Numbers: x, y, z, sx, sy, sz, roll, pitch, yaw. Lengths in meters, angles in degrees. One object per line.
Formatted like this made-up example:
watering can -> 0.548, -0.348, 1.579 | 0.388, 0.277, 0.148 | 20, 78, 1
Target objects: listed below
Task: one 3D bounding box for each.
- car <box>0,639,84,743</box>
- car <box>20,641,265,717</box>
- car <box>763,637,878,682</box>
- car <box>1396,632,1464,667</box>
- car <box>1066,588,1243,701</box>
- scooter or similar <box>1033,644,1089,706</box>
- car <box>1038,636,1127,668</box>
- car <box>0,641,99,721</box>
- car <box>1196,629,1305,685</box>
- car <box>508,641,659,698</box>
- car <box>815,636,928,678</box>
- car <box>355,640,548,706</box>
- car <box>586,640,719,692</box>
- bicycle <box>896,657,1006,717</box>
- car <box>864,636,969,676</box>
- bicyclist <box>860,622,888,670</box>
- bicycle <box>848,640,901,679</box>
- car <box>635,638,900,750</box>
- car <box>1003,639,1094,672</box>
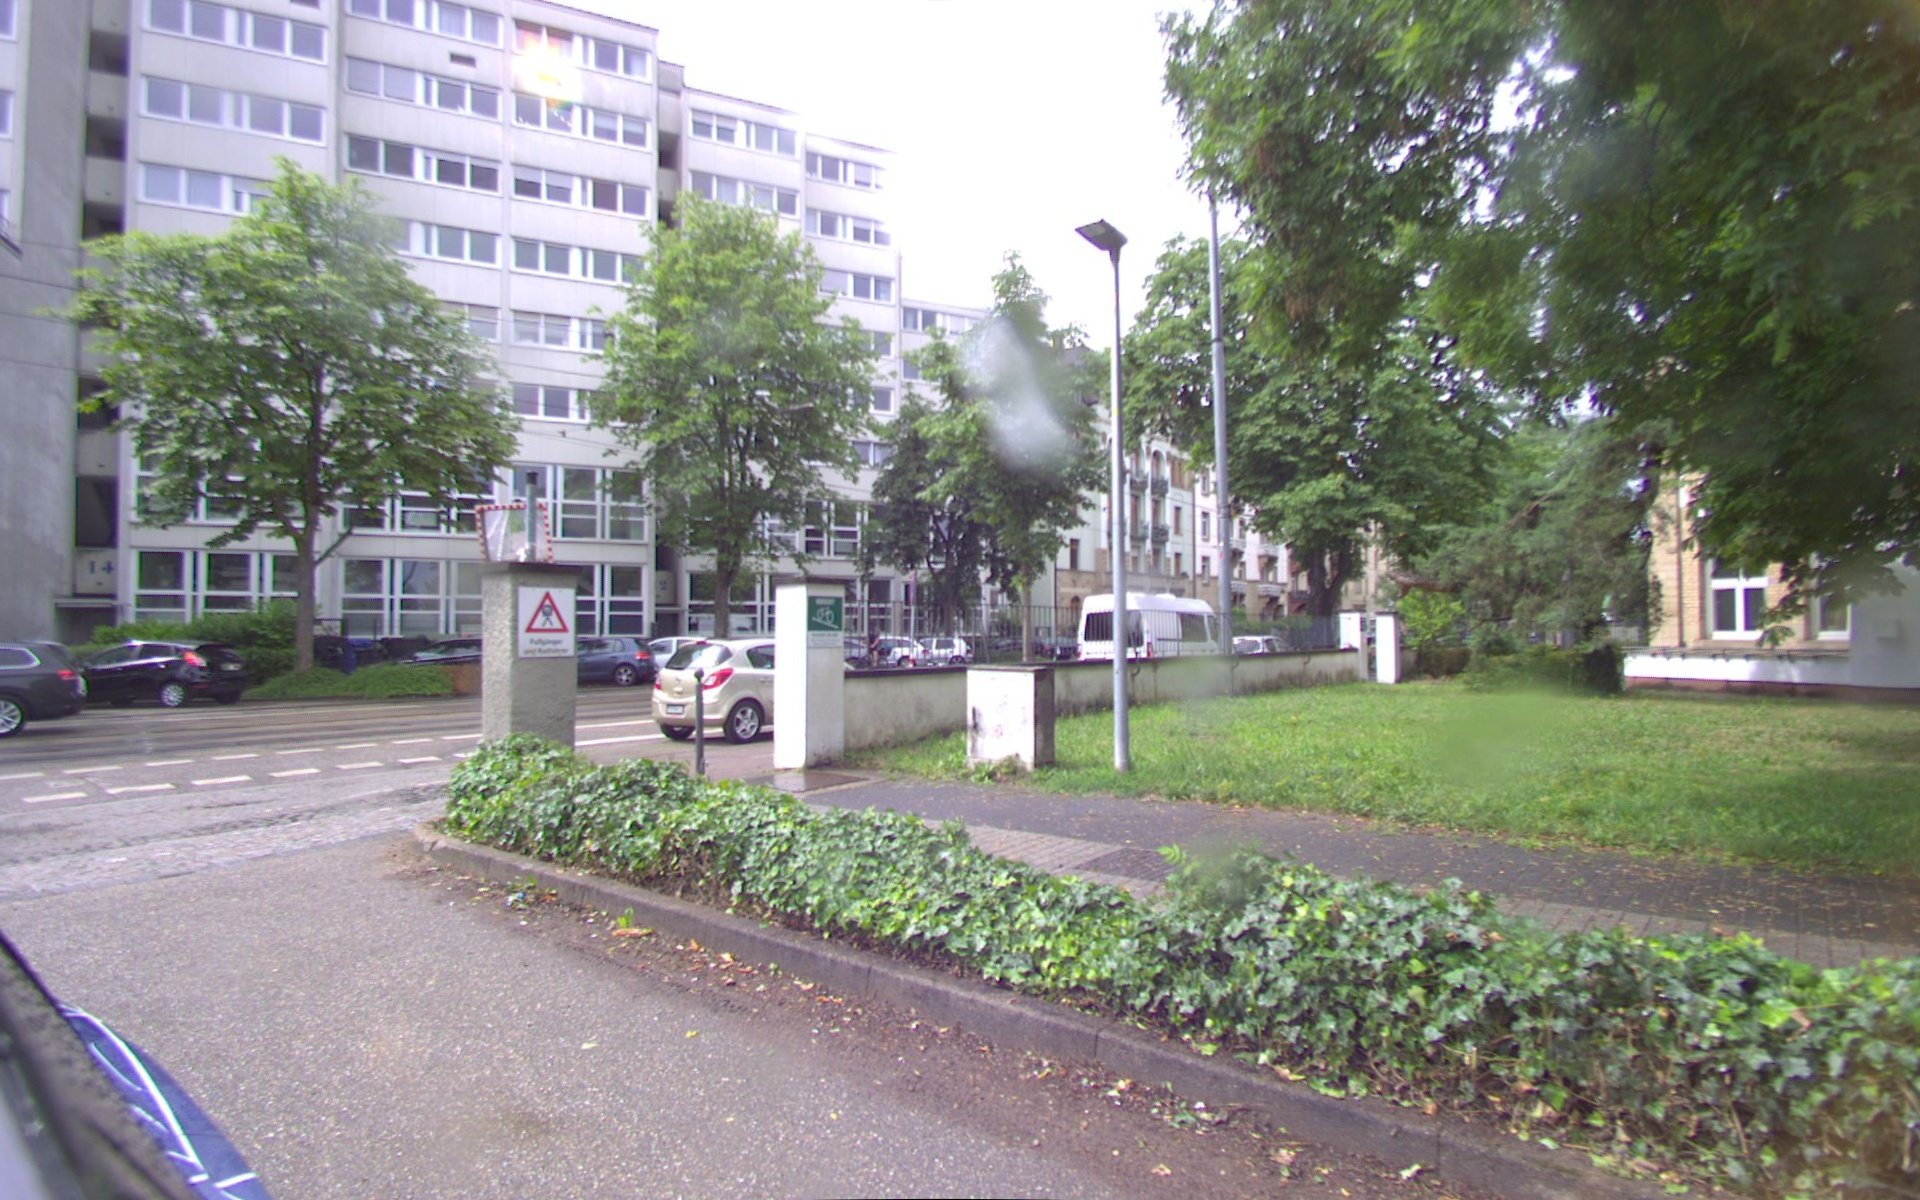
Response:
car -> -15.542, 1.344, 14.126 | 1.996, 1.492, 4.704 | -4, -3, 36
car -> -17.778, 1.695, 22.136 | 3.923, 1.492, 1.816 | -1, -2, 1
car -> -5.184, 2.213, 37.941 | 4.142, 1.464, 1.816 | -2, -2, -5
car -> 22.080, 2.310, 47.494 | 1.794, 1.509, 3.975 | -4, -3, 41
car -> 4.985, 1.118, 25.338 | 2.137, 2.529, 5.206 | -4, -4, 38
scooter or similar -> 2.127, 1.575, 21.366 | 1.137, 1.287, 0.424 | 0, -4, 14
car -> 6.391, 2.706, 53.129 | 4.380, 1.464, 1.905 | -2, -2, 2
car -> -19.093, 1.546, 19.571 | 3.357, 1.463, 1.712 | 0, -2, -3
car -> 8.698, 1.709, 30.187 | 1.913, 1.563, 3.325 | -4, -4, 40
car -> -11.026, 2.030, 29.857 | 3.821, 1.465, 1.825 | -2, -3, -7
car -> -3.519, 2.256, 40.325 | 4.327, 1.464, 1.887 | -2, -2, -5
car -> -13.701, 1.960, 27.465 | 4.302, 1.567, 1.881 | -2, -3, -7
car -> -9.863, 2.119, 32.671 | 3.821, 1.465, 1.780 | -2, -3, -7
bicycle -> -0.180, 1.577, 18.291 | 1.925, 0.994, 0.676 | -6, -4, 37
car -> -1.880, 2.361, 42.966 | 4.305, 1.464, 1.908 | -2, -2, -5
bicyclist -> -3.017, 1.601, 35.408 | 0.645, 1.630, 0.664 | -5, -3, 44
bicycle -> -2.992, 2.072, 35.393 | 0.645, 1.276, 1.841 | -4, -3, 44
car -> -2.812, 1.343, 15.419 | 1.688, 1.471, 3.784 | -4, -4, 38
car -> 4.388, 2.782, 50.686 | 4.380, 1.464, 1.905 | -2, -2, 2
